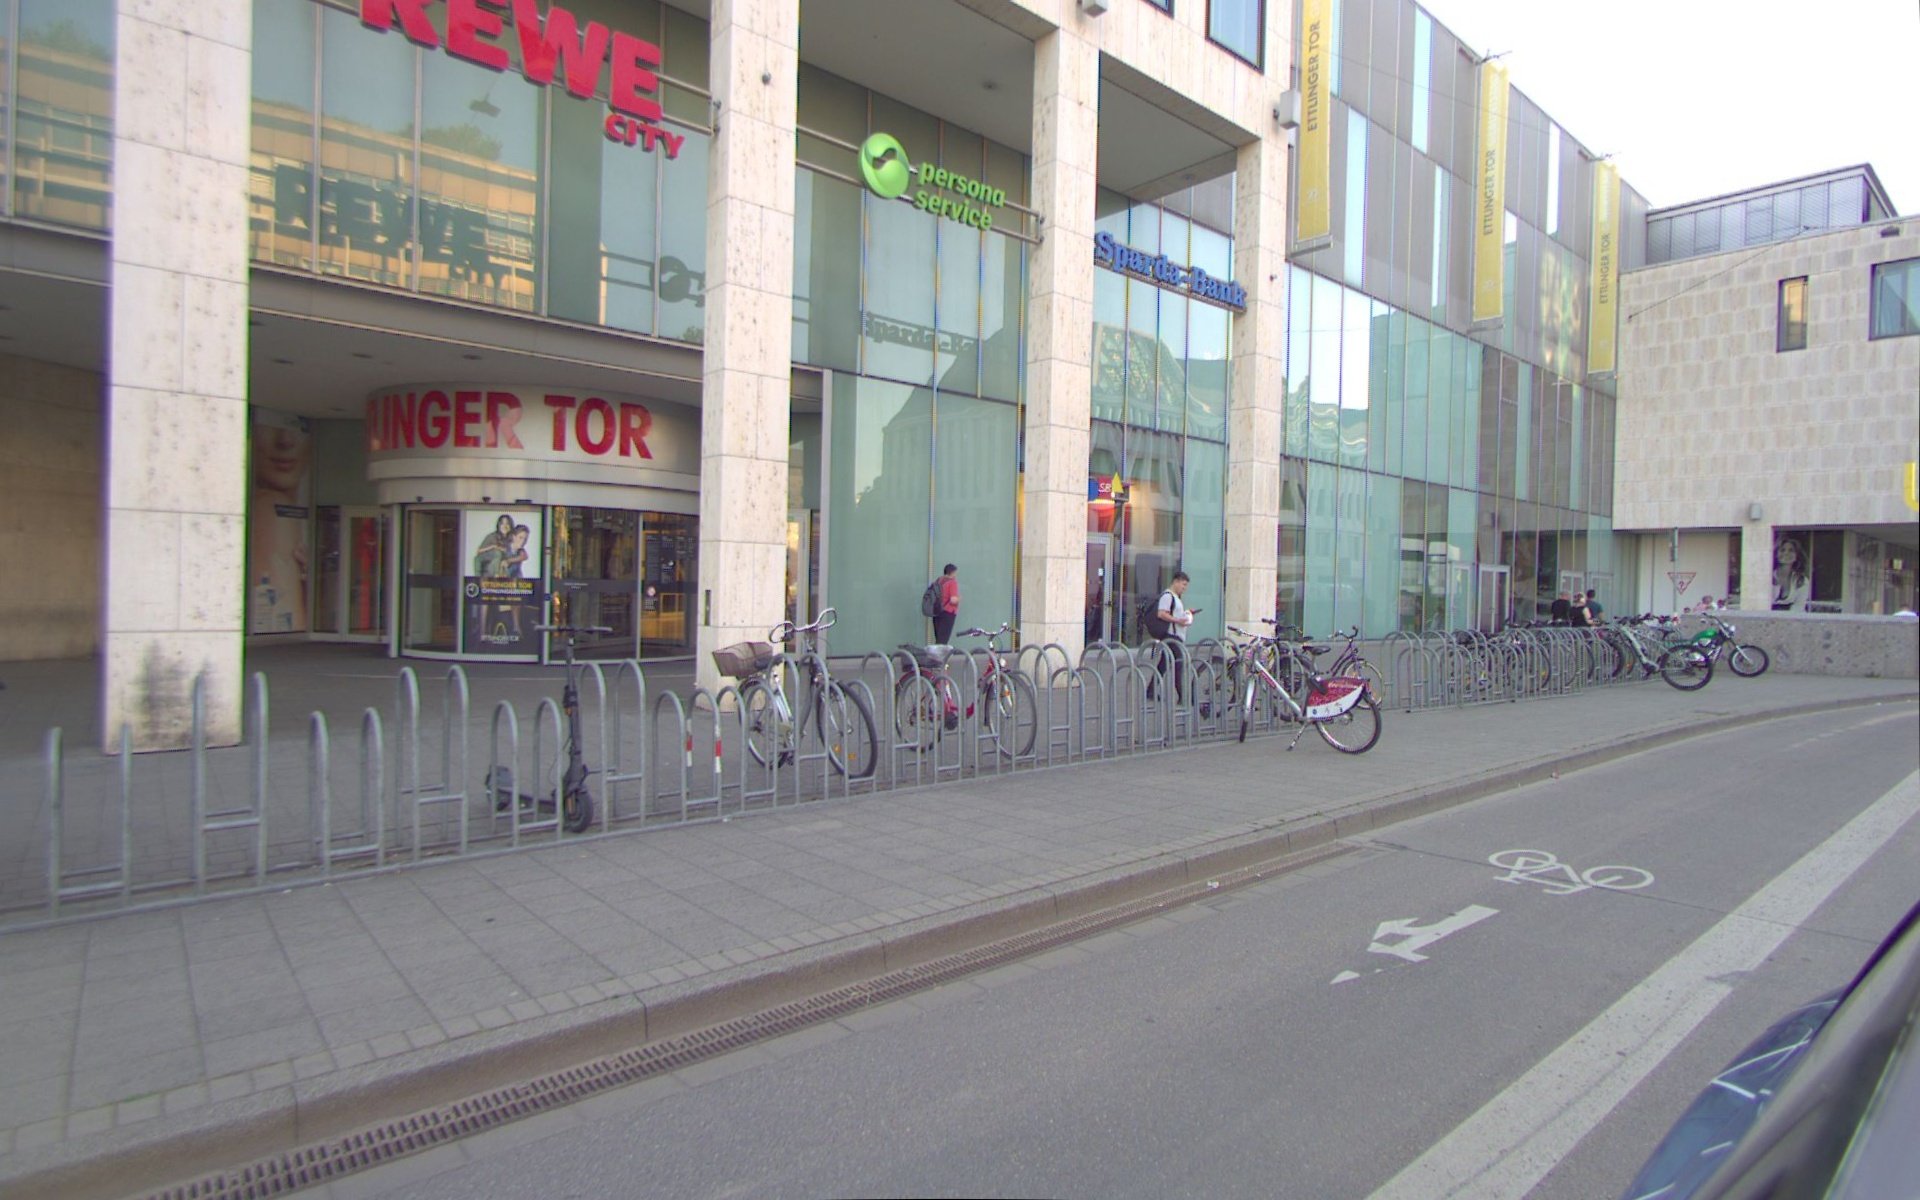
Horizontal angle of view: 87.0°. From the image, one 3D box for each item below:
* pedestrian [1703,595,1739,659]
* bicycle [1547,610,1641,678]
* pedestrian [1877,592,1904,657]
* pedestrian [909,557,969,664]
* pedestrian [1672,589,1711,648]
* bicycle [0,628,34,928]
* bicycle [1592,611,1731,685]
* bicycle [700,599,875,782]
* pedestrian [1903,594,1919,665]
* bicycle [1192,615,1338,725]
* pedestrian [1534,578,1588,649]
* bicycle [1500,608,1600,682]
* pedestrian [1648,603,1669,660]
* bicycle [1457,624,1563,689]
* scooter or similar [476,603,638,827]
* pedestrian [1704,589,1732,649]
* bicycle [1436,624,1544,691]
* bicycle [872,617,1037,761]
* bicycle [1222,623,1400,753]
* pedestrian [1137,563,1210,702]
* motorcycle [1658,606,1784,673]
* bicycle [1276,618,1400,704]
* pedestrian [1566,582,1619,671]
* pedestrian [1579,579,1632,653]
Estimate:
[{"bbox_3d":[21.679,0.758,28.829,0.797,1.802,0.619,1,1,-38],"label":"pedestrian"},{"bbox_3d":[11.393,0.769,18.217,0.509,1.179,1.344,1,-2,-41],"label":"bicycle"},{"bbox_3d":[25.550,0.662,27.789,0.483,1.765,0.455,1,1,-38],"label":"pedestrian"},{"bbox_3d":[-0.341,0.151,16.280,0.695,1.672,0.629,1,1,-40],"label":"pedestrian"},{"bbox_3d":[22.767,0.566,31.491,0.644,1.765,0.794,1,1,-38],"label":"pedestrian"},{"bbox_3d":[-4.514,0.713,4.467,1.768,1.092,0.475,3,1,43],"label":"bicycle"},{"bbox_3d":[11.564,0.772,16.742,0.458,1.161,1.837,1,-2,-39],"label":"bicycle"},{"bbox_3d":[-1.335,0.624,7.640,0.607,1.243,1.517,1,-2,-41],"label":"bicycle"},{"bbox_3d":[24.341,0.750,25.675,0.483,1.765,0.516,1,1,-38],"label":"pedestrian"},{"bbox_3d":[3.377,0.740,11.308,0.569,1.138,1.519,1,-2,-36],"label":"bicycle"},{"bbox_3d":[14.537,0.322,24.507,0.804,1.668,0.741,1,1,-5],"label":"pedestrian"},{"bbox_3d":[9.830,0.736,16.893,0.509,1.179,1.344,1,-2,-41],"label":"bicycle"},{"bbox_3d":[21.780,0.968,31.553,0.444,1.765,0.364,1,1,-38],"label":"pedestrian"},{"bbox_3d":[8.454,0.853,15.583,0.509,0.944,1.344,1,-2,-41],"label":"bicycle"},{"bbox_3d":[-2.520,0.649,6.273,0.484,1.214,1.194,1,1,-44],"label":"scooter or similar"},{"bbox_3d":[22.933,0.573,30.630,0.644,1.765,0.494,1,1,-38],"label":"pedestrian"},{"bbox_3d":[7.944,0.841,15.204,0.509,0.944,1.344,1,-2,-41],"label":"bicycle"},{"bbox_3d":[-0.076,0.711,8.668,0.543,1.120,1.516,1,-2,-43],"label":"bicycle"},{"bbox_3d":[3.169,0.757,9.245,0.458,1.077,1.518,1,-2,-39],"label":"bicycle"},{"bbox_3d":[2.744,0.393,12.998,0.703,1.713,0.622,2,1,33],"label":"pedestrian"},{"bbox_3d":[15.578,0.789,20.764,0.472,1.239,2.004,1,1,-43],"label":"motorcycle"},{"bbox_3d":[5.011,0.779,13.448,1.439,1.078,0.572,-1,-2,39],"label":"bicycle"},{"bbox_3d":[12.237,0.496,19.593,0.802,1.663,0.640,2,1,31],"label":"pedestrian"},{"bbox_3d":[15.324,0.365,24.034,0.803,1.717,0.700,1,1,-27],"label":"pedestrian"}]
